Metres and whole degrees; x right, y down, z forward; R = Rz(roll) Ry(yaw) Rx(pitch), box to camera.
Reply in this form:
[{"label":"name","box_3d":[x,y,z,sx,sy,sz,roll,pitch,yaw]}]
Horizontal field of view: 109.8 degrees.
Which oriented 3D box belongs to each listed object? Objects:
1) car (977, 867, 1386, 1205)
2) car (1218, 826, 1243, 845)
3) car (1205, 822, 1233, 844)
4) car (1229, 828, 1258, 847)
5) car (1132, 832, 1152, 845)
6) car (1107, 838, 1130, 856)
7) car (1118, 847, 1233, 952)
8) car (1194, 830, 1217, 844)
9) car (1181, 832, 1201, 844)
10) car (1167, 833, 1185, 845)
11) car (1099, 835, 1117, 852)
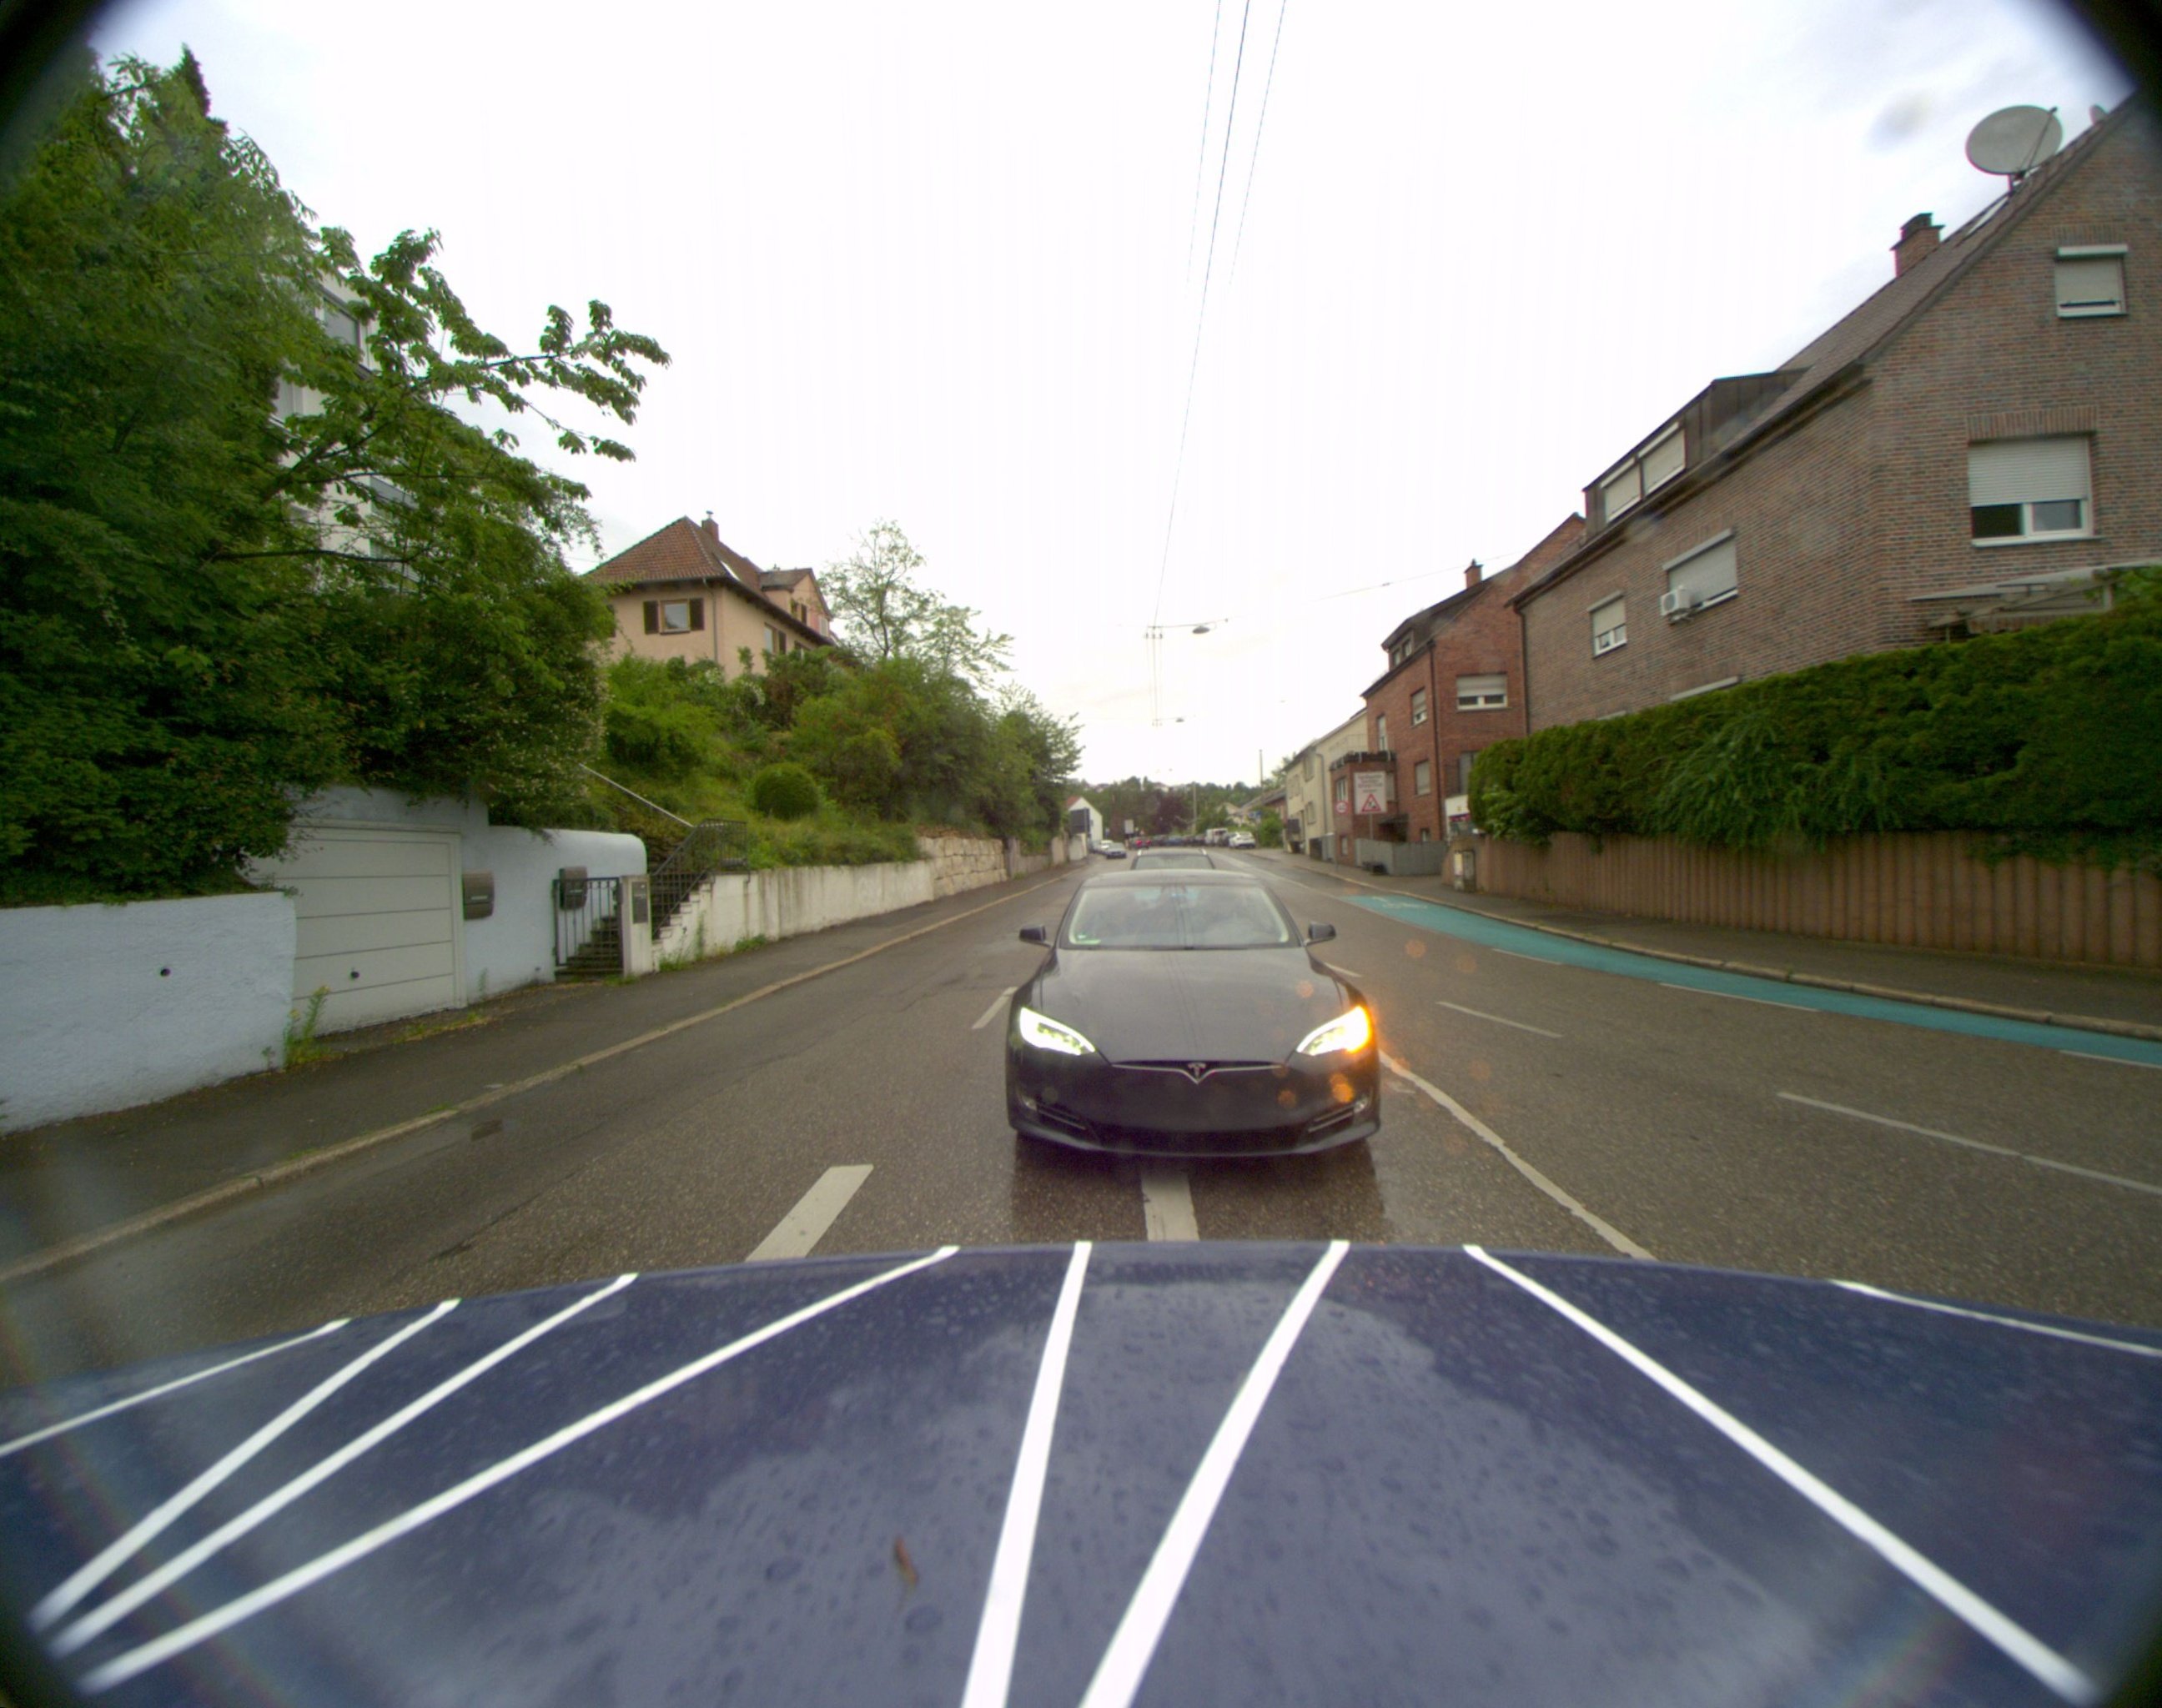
[{"label":"car","box_3d":[0.612,0.907,5.566,1.870,1.407,4.000,-2,1,4]},{"label":"car","box_3d":[15.718,-1.911,80.104,1.814,1.793,4.263,-4,1,2]},{"label":"car","box_3d":[15.607,-2.340,86.134,2.257,2.273,4.546,-4,1,0]},{"label":"car","box_3d":[15.350,-1.559,71.956,1.946,1.557,4.263,-4,1,2]},{"label":"car","box_3d":[8.122,-2.112,101.410,1.854,1.671,4.169,0,2,-6]},{"label":"car","box_3d":[3.645,-0.616,73.218,2.002,1.596,4.360,-2,-1,4]},{"label":"car","box_3d":[1.648,0.709,14.001,1.789,1.580,3.784,-2,1,4]},{"label":"car","box_3d":[15.000,-2.018,91.502,1.654,1.482,4.009,-4,1,-6]},{"label":"car","box_3d":[14.124,-2.096,97.426,1.654,1.388,3.859,-4,1,-4]},{"label":"car","box_3d":[12.786,-2.073,102.656,1.624,1.482,3.901,-4,1,-4]},{"label":"car","box_3d":[3.179,-1.295,89.028,1.820,1.855,4.038,-2,2,-1]}]
